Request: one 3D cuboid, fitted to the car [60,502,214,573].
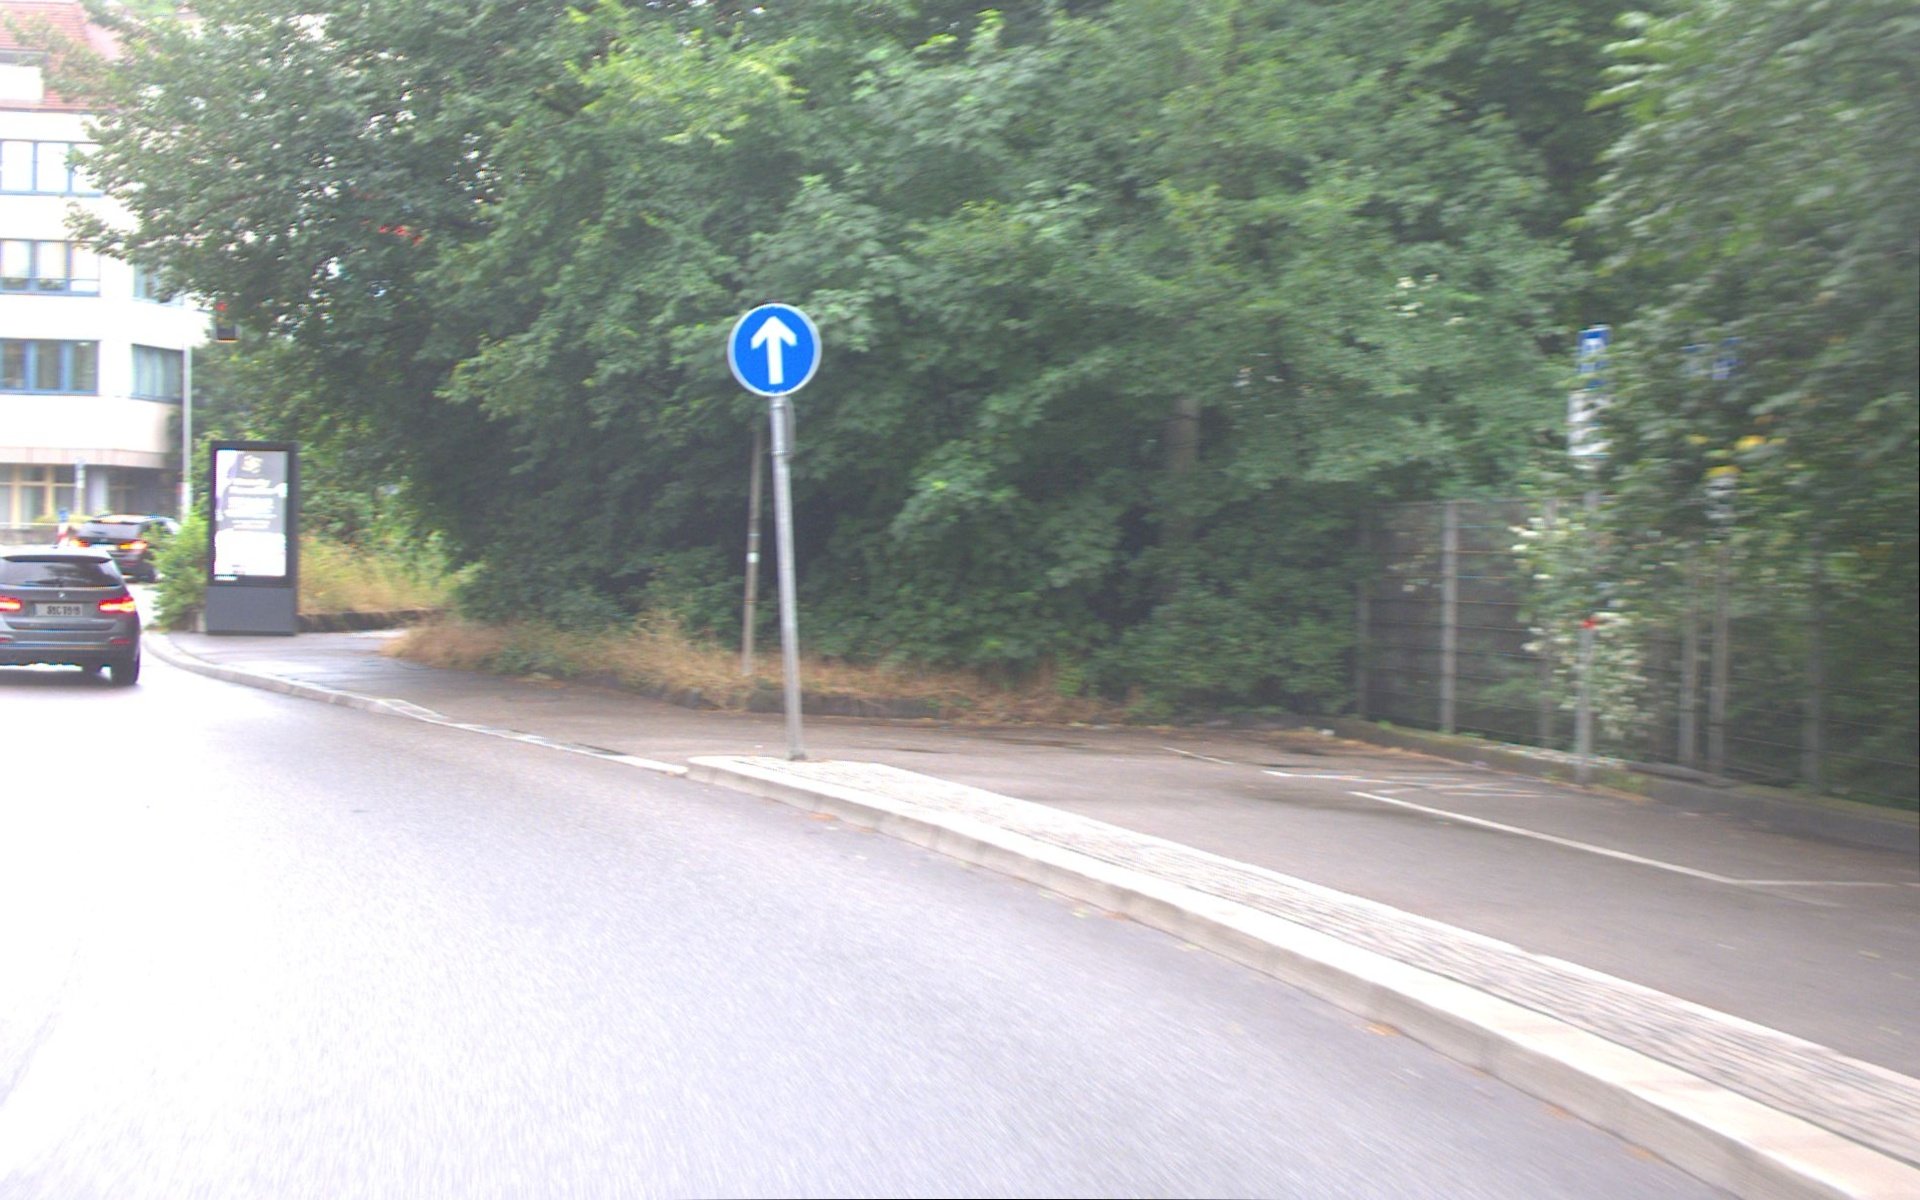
[{"bbox_3d":[-17.718,-1.354,74.197,1.792,1.421,4.612,2,1,6],"label":"car"}]

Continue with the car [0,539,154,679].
[{"bbox_3d":[-9.783,0.069,37.007,1.958,1.421,4.126,0,1,-16],"label":"car"}]
